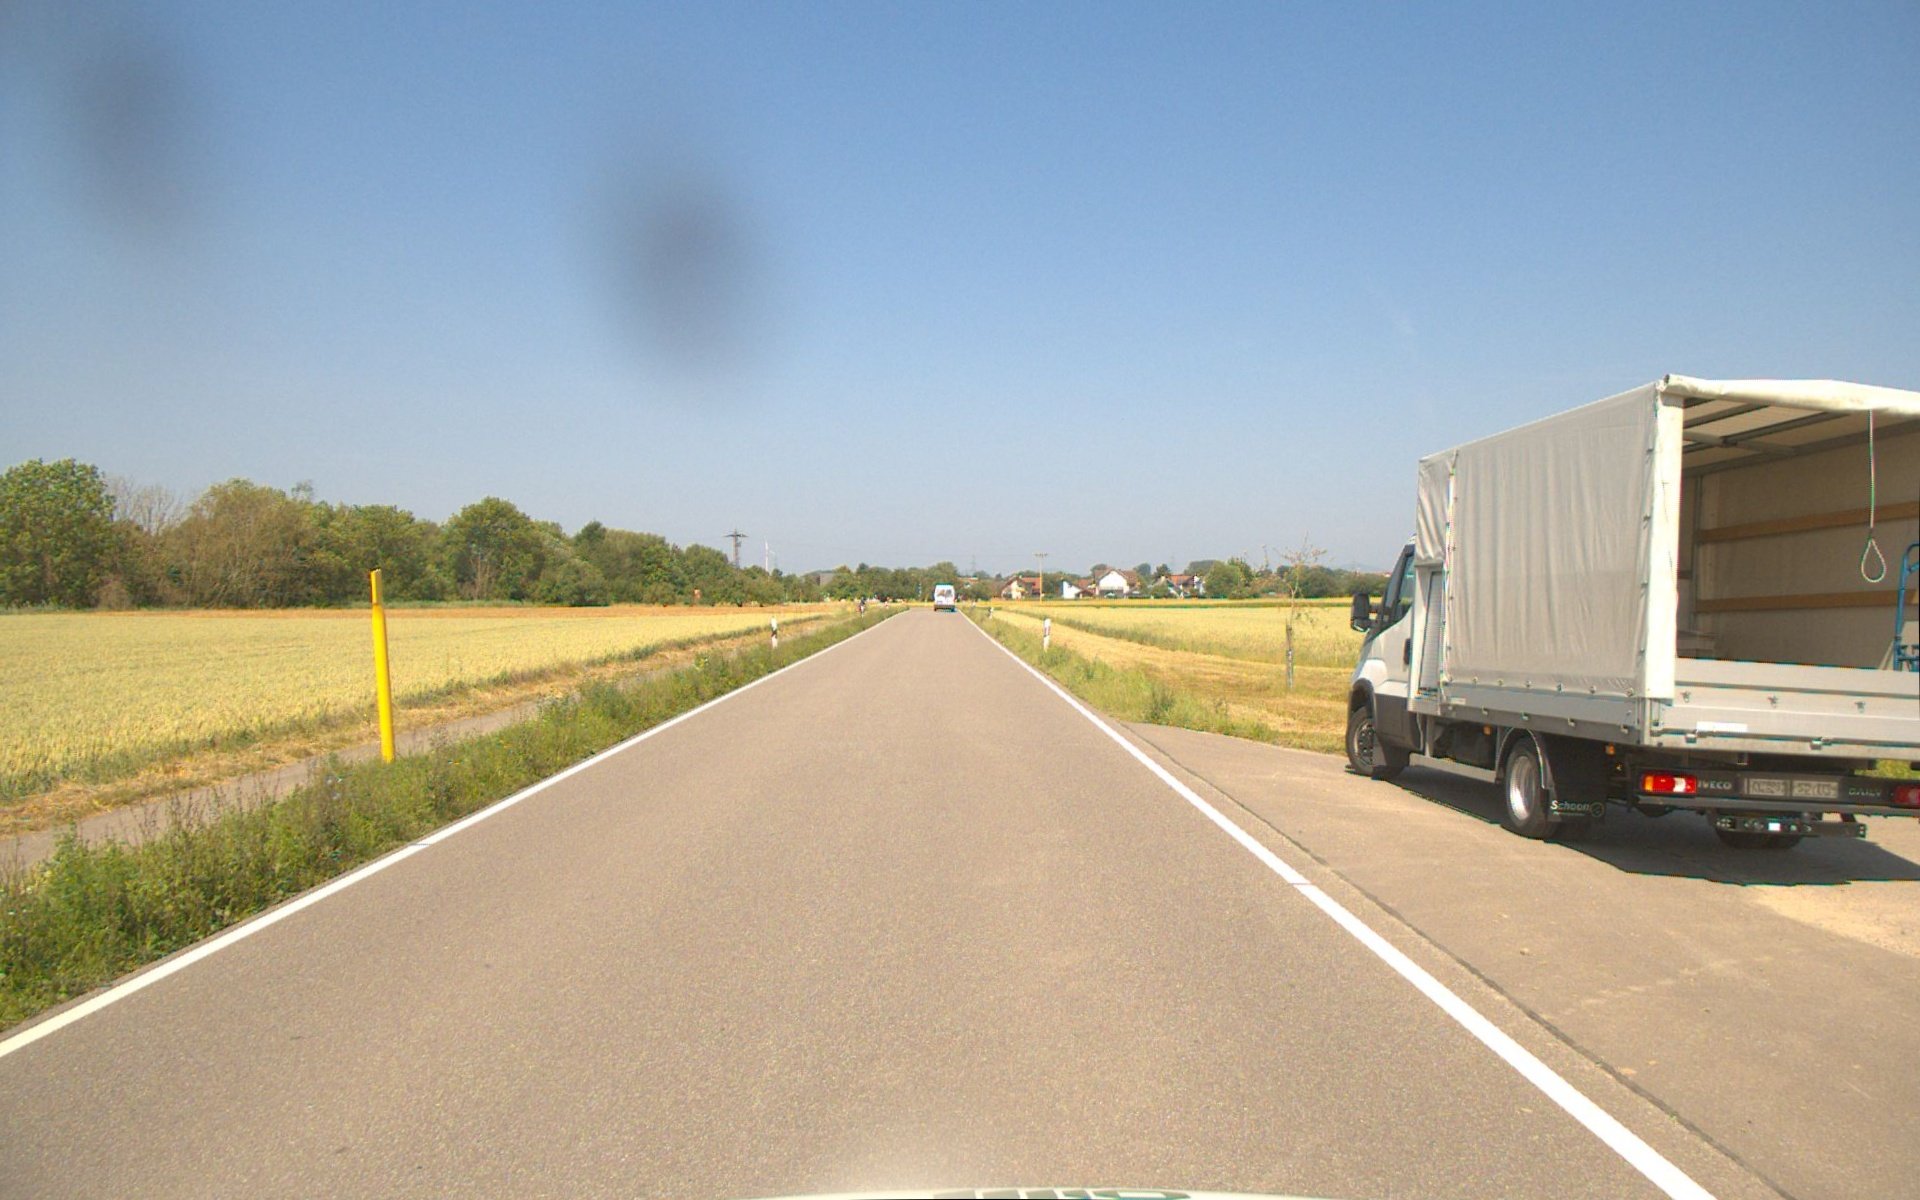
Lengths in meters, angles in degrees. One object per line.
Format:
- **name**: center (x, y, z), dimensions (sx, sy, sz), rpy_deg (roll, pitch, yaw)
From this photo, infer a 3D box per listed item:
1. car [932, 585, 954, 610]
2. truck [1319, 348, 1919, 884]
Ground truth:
- **car**: center (-1.680, -0.275, 160.588), dimensions (2.064, 2.344, 5.494), rpy_deg (2, 0, -1)
- **truck**: center (4.937, 0.112, 13.016), dimensions (2.289, 2.993, 7.005), rpy_deg (3, 0, -3)
